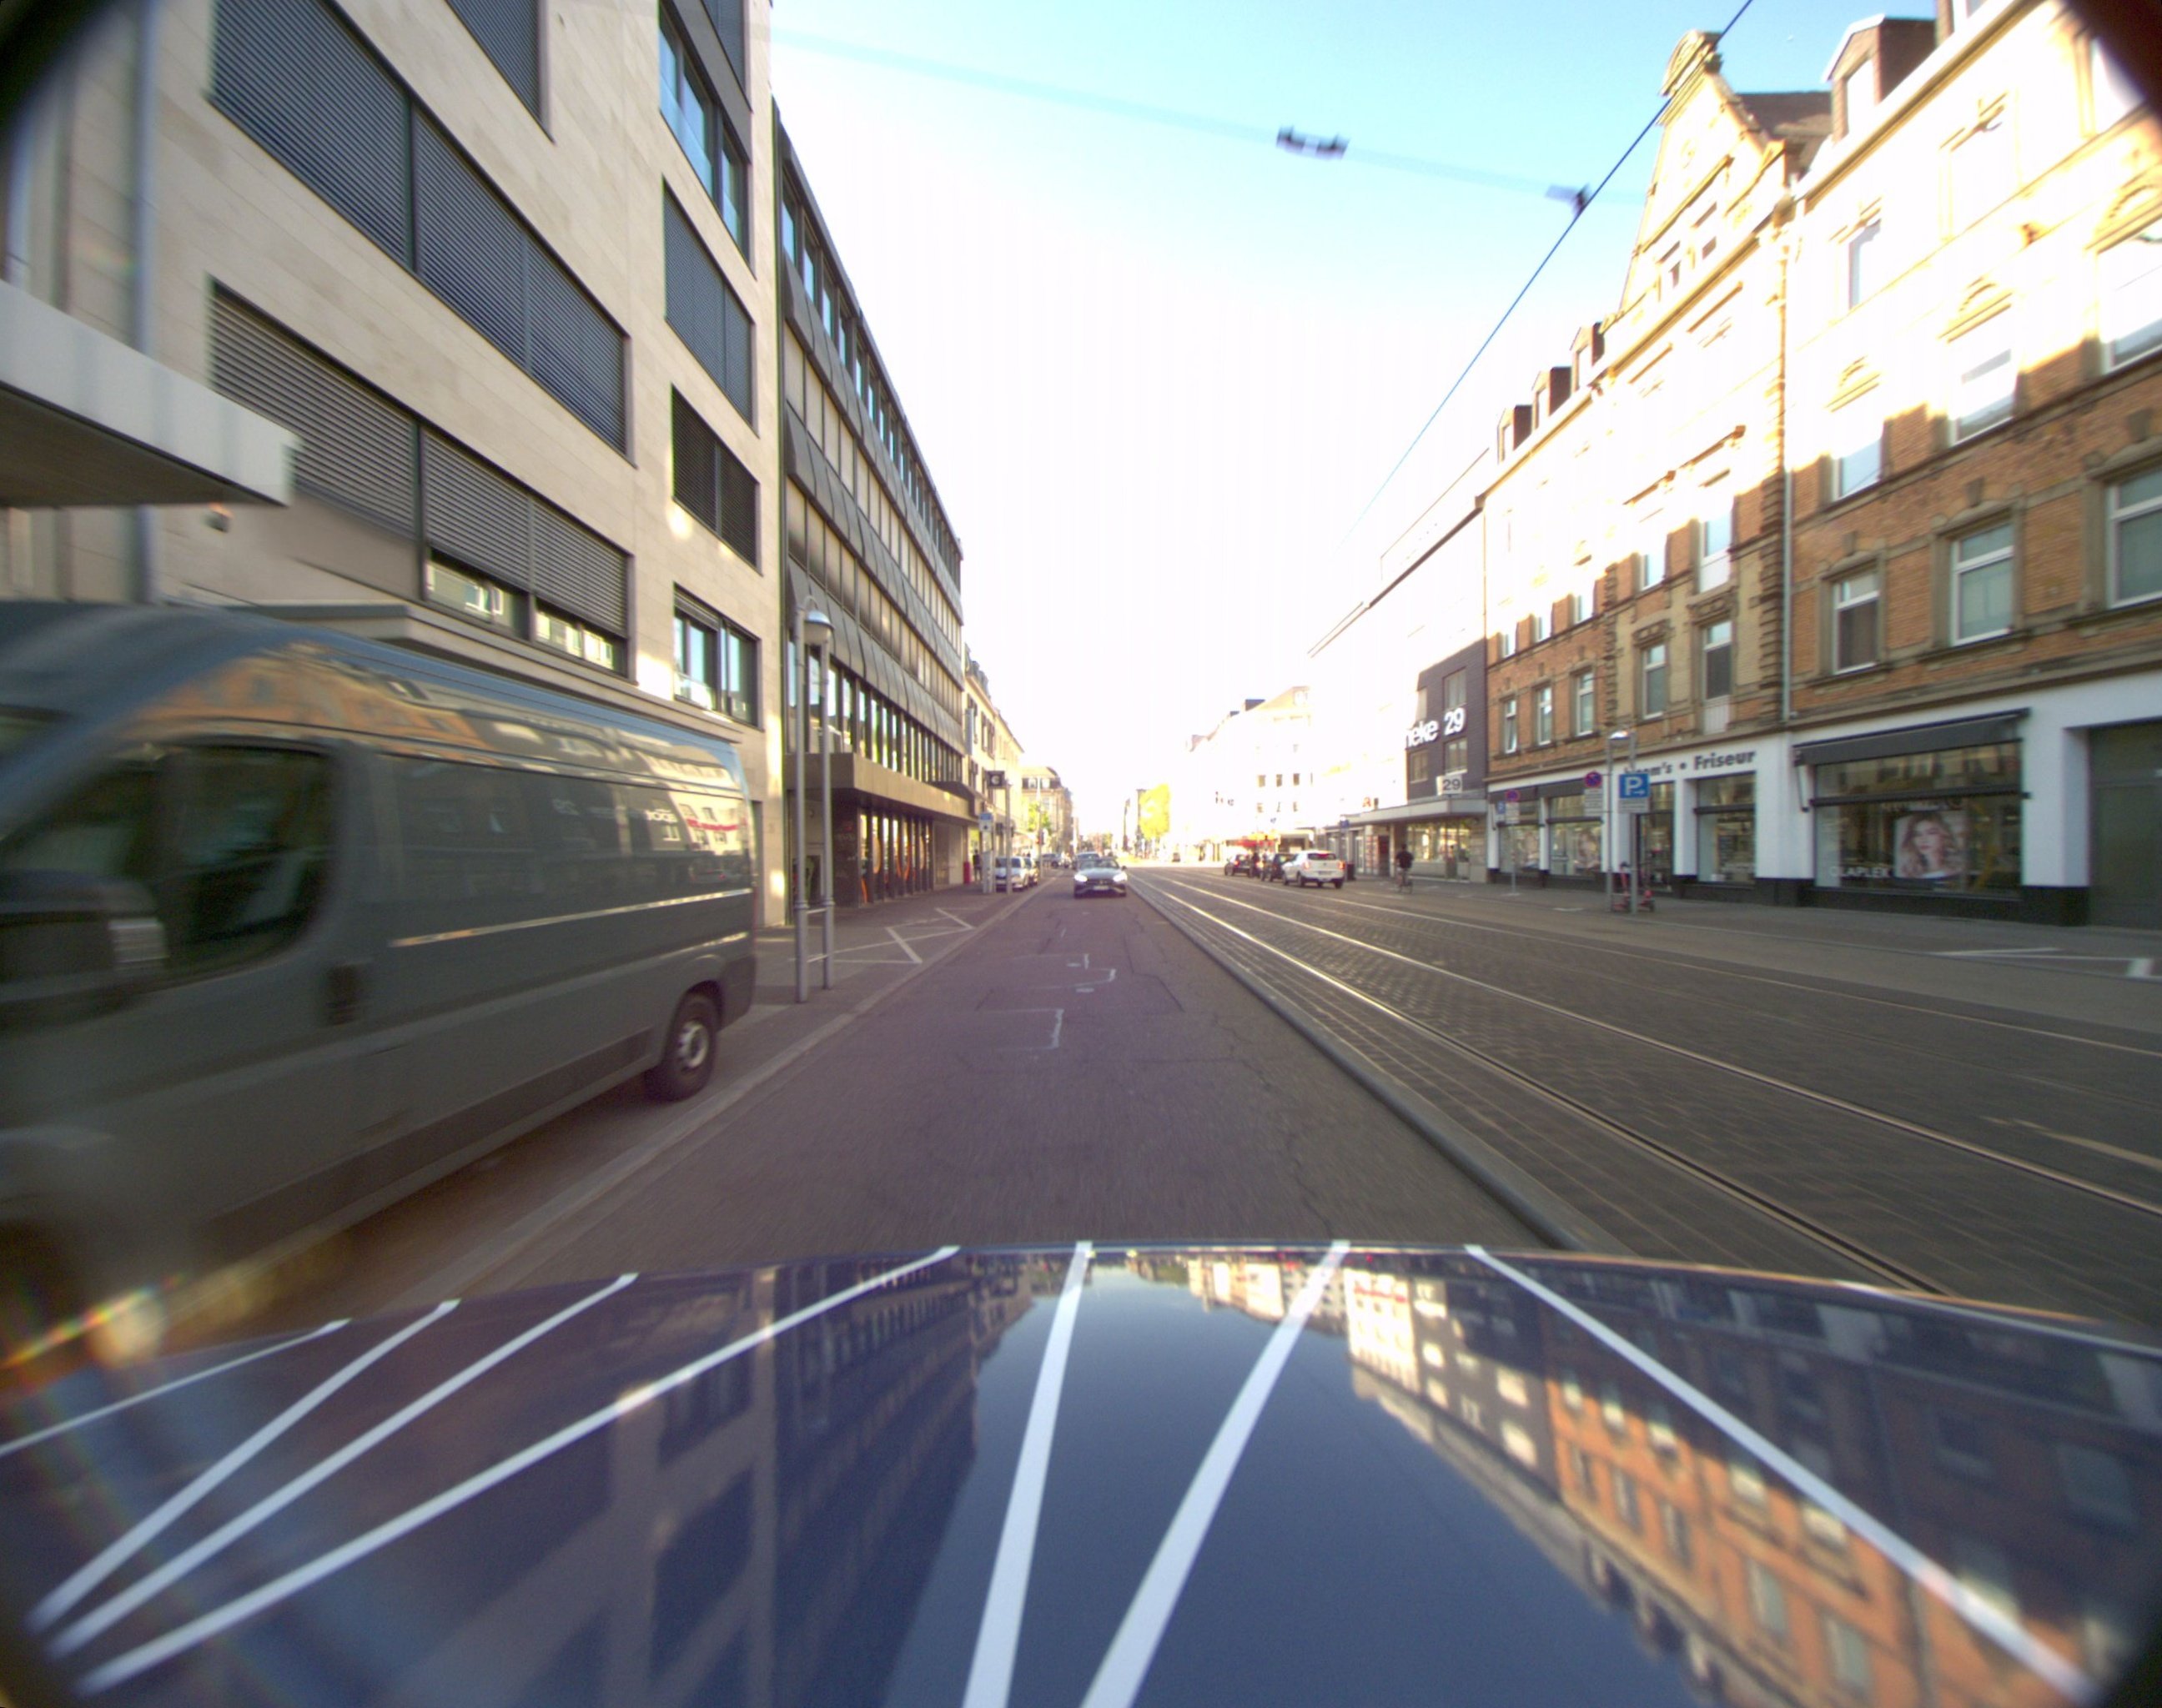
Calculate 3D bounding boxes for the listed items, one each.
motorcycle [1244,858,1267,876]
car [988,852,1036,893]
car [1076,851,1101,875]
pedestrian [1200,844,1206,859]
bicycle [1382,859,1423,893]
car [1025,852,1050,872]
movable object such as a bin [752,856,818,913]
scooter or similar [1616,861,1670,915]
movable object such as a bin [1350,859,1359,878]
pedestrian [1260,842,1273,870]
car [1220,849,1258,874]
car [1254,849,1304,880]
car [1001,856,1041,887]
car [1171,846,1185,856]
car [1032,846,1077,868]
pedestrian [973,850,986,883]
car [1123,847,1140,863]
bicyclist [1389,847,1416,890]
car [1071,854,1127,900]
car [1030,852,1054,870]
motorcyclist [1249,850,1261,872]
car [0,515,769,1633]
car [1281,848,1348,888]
[{"bbox_3d":[10.192,0.777,44.488,0.907,0.987,1.935,1,1,1],"label":"motorcycle"},{"bbox_3d":[-2.853,0.740,32.106,1.630,1.543,3.508,2,1,1],"label":"car"},{"bbox_3d":[0.540,0.607,53.253,1.630,1.593,3.330,2,1,1],"label":"car"},{"bbox_3d":[16.671,-0.354,104.168,0.669,1.939,0.620,-2,1,1],"label":"pedestrian"},{"bbox_3d":[11.822,0.802,28.021,0.610,1.142,2.100,-2,1,1],"label":"bicycle"},{"bbox_3d":[-3.182,0.579,56.209,1.630,1.342,3.330,2,1,1],"label":"car"},{"bbox_3d":[-8.093,0.812,20.841,1.309,1.492,1.234,1,1,1],"label":"movable object such as a bin"},{"bbox_3d":[13.683,0.809,18.519,0.404,1.216,1.202,-2,1,1],"label":"scooter or similar"},{"bbox_3d":[14.342,0.759,39.863,0.325,0.942,0.467,-1,1,1],"label":"movable object such as a bin"},{"bbox_3d":[12.704,0.127,51.975,0.705,1.830,0.636,-2,1,1],"label":"pedestrian"},{"bbox_3d":[10.237,0.456,49.492,1.667,1.521,3.999,1,1,1],"label":"car"},{"bbox_3d":[10.419,0.536,40.256,1.667,1.521,3.999,1,1,1],"label":"car"},{"bbox_3d":[-2.875,0.821,37.004,1.630,1.342,3.330,2,1,1],"label":"car"},{"bbox_3d":[14.819,-0.462,115.944,1.630,1.524,3.463,2,1,1],"label":"car"},{"bbox_3d":[-2.675,0.324,76.270,3.990,2.002,2.003,-2,1,30],"label":"car"},{"bbox_3d":[-5.333,0.648,40.076,0.513,1.665,0.744,-2,1,1],"label":"pedestrian"},{"bbox_3d":[6.588,0.119,98.902,1.998,2.002,4.000,-2,1,2],"label":"car"},{"bbox_3d":[11.832,0.510,27.964,0.576,1.538,0.861,-2,1,1],"label":"bicyclist"},{"bbox_3d":[0.604,0.759,27.431,1.858,1.463,4.785,0,1,0],"label":"car"},{"bbox_3d":[-3.100,0.535,61.251,1.630,1.342,3.463,2,1,1],"label":"car"},{"bbox_3d":[10.189,0.402,44.557,0.540,1.296,0.655,1,1,1],"label":"motorcyclist"},{"bbox_3d":[-3.446,0.532,2.942,2.051,2.486,5.687,-2,-1,0],"label":"car"},{"bbox_3d":[10.076,0.554,33.044,1.802,1.625,3.676,0,1,1],"label":"car"}]
